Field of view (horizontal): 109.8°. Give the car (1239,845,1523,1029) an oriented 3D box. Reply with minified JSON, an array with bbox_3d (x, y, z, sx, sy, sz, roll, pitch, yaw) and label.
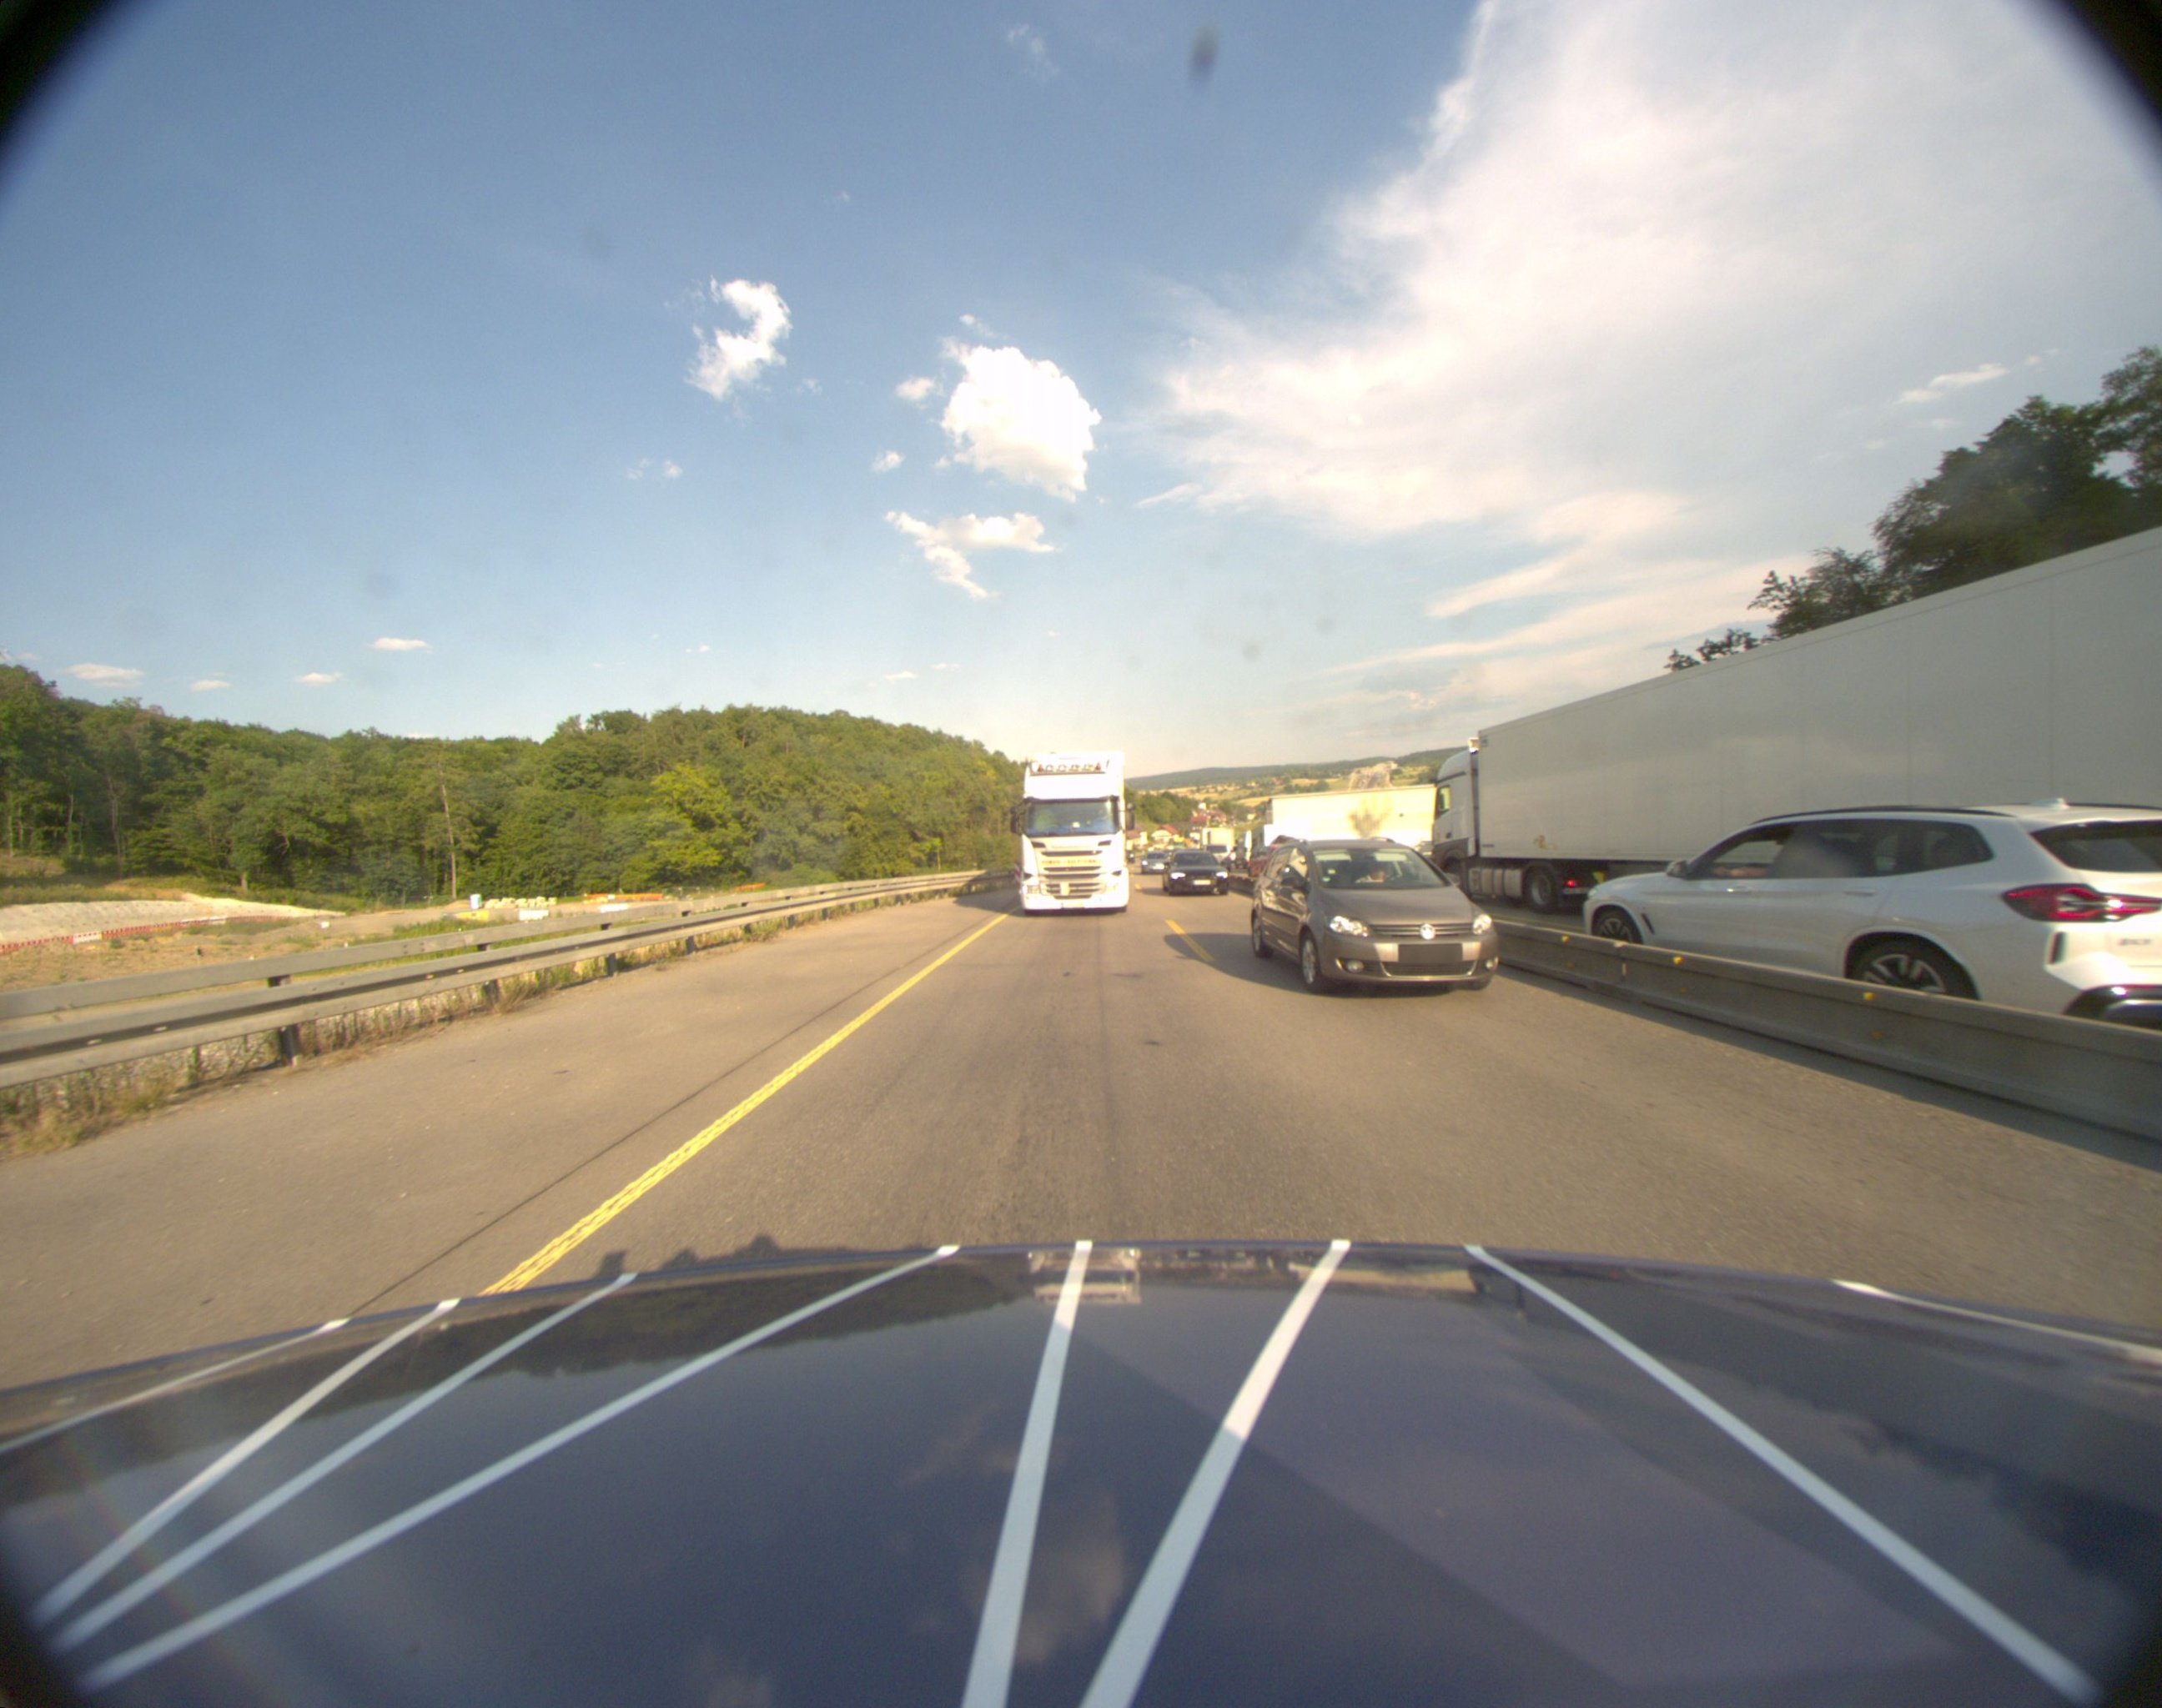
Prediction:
[{"bbox_3d":[3.065,0.709,8.732,1.688,1.565,4.099,-2,1,1],"label":"car"}]

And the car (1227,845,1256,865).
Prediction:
[{"bbox_3d":[13.082,0.044,62.155,1.767,1.514,4.003,-2,1,4],"label":"car"}]

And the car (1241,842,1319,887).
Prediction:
[{"bbox_3d":[7.656,0.386,29.648,1.892,1.559,4.456,-3,0,1],"label":"car"}]

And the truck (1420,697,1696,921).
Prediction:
[{"bbox_3d":[10.354,-0.884,17.312,2.719,4.194,5.681,-2,1,0],"label":"truck"}]

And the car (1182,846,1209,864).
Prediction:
[{"bbox_3d":[9.942,0.107,66.251,1.821,1.569,4.756,0,0,3],"label":"car"}]

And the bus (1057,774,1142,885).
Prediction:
[{"bbox_3d":[1.173,-1.037,36.559,2.983,4.553,9.972,-1,0,7],"label":"bus"}]

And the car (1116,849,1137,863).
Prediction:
[{"bbox_3d":[5.394,0.197,90.769,1.999,1.630,3.999,-2,1,-2],"label":"car"}]

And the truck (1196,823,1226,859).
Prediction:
[{"bbox_3d":[15.950,-1.579,93.744,2.713,4.065,14.157,-1,1,6],"label":"truck"}]

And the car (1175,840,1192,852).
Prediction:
[{"bbox_3d":[13.358,-0.988,99.223,2.062,1.478,4.728,1,0,5],"label":"car"}]

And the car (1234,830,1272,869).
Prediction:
[{"bbox_3d":[12.375,-0.346,54.956,1.960,2.606,5.749,-1,1,5],"label":"car"}]

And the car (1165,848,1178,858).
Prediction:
[{"bbox_3d":[15.045,-0.206,126.281,1.821,1.569,4.756,0,0,3],"label":"car"}]

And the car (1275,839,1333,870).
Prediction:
[{"bbox_3d":[11.180,-0.008,38.403,1.753,1.414,4.610,-2,1,3],"label":"car"}]

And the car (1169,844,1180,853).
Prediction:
[{"bbox_3d":[17.845,-0.999,144.749,1.821,1.569,4.756,0,0,3],"label":"car"}]

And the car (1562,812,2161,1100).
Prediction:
[{"bbox_3d":[6.595,0.514,6.559,1.874,1.580,4.802,0,1,1],"label":"car"}]

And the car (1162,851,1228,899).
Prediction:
[{"bbox_3d":[3.708,0.631,25.352,1.866,1.391,4.000,-1,1,4],"label":"car"}]

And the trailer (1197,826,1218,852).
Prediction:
[{"bbox_3d":[20.406,-2.413,123.334,2.863,4.013,13.977,-1,1,8],"label":"trailer"}]

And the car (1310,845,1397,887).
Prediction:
[{"bbox_3d":[10.236,0.412,28.889,1.747,1.452,4.714,-1,0,2],"label":"car"}]

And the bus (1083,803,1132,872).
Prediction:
[{"bbox_3d":[2.132,-1.116,55.780,2.984,4.553,10.906,-1,0,5],"label":"bus"}]

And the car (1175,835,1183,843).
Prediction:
[{"bbox_3d":[26.893,-4.125,208.750,1.821,1.988,4.756,0,0,3],"label":"car"}]

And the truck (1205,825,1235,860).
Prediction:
[{"bbox_3d":[14.369,-1.161,79.112,2.452,3.443,7.620,-2,1,6],"label":"truck"}]

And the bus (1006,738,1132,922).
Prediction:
[{"bbox_3d":[0.115,-0.627,22.617,2.634,4.077,11.315,-1,1,5],"label":"bus"}]

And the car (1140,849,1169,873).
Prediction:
[{"bbox_3d":[4.698,0.421,48.323,1.698,1.390,4.002,-3,0,6],"label":"car"}]

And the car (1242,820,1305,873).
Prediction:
[{"bbox_3d":[11.595,-0.483,46.349,2.339,2.901,7.633,-1,1,4],"label":"car"}]

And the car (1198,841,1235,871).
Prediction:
[{"bbox_3d":[8.738,0.136,49.497,1.808,1.761,5.455,-2,-1,5],"label":"car"}]

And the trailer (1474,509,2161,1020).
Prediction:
[{"bbox_3d":[10.289,-0.809,10.444,2.728,4.193,13.747,-2,1,1],"label":"trailer"}]
